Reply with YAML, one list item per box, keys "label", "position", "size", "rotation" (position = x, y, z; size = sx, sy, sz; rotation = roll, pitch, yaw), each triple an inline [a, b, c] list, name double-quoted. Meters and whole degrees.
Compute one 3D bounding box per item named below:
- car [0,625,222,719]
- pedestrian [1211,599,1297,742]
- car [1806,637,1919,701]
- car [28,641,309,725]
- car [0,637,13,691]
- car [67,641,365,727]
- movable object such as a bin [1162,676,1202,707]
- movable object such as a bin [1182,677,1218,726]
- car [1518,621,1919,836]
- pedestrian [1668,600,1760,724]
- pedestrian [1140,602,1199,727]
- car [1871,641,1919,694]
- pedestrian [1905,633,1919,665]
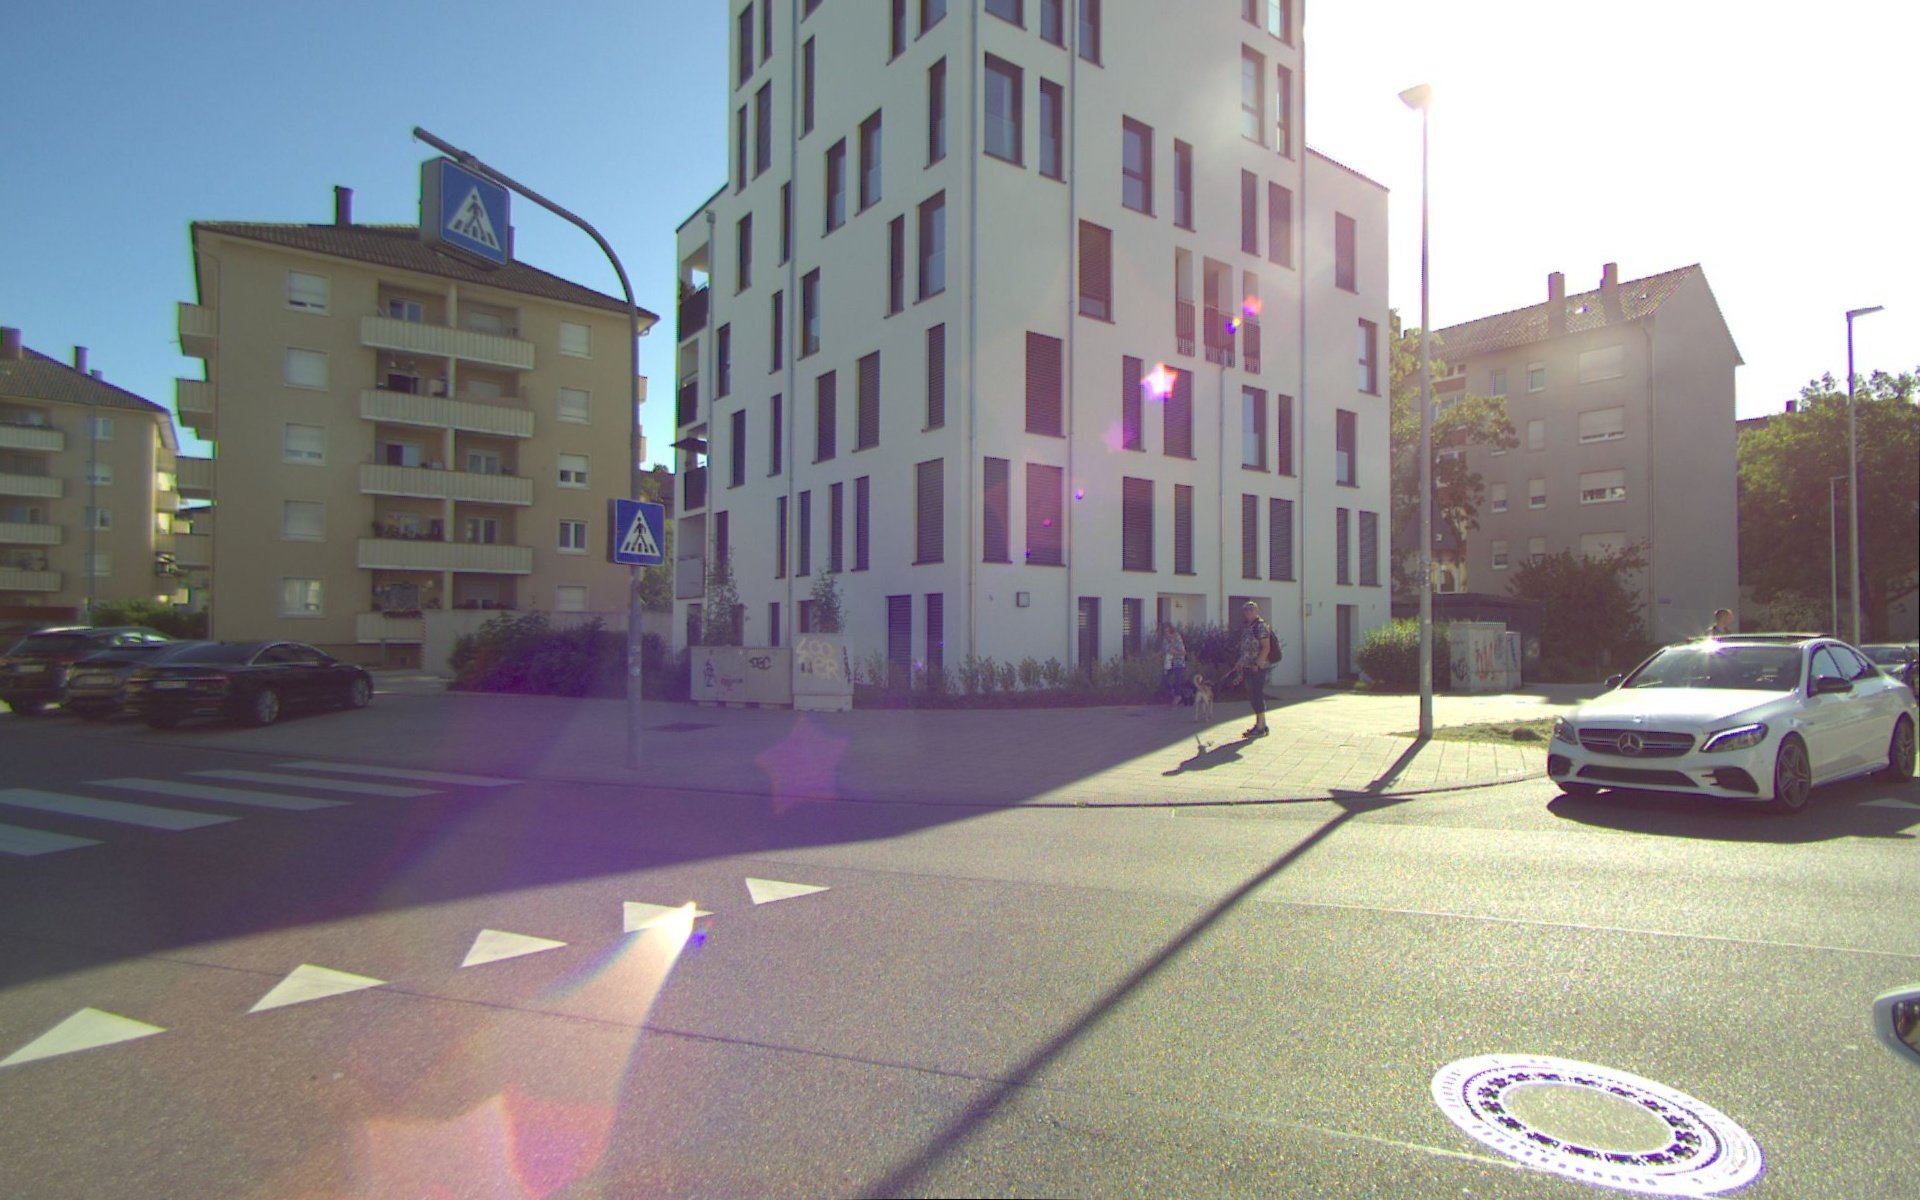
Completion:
- label: "car"
  position: [-17.636, 1.403, 20.758]
  size: [1.962, 1.673, 3.998]
  rotation: [0, 0, -4]
- label: "pedestrian"
  position: [4.101, 0.956, 14.020]
  size: [0.834, 1.910, 0.787]
  rotation: [2, 0, 43]
- label: "car"
  position: [23.049, 1.714, 25.519]
  size: [3.966, 1.439, 1.653]
  rotation: [3, -1, -39]
- label: "car"
  position: [-15.275, 1.536, 19.803]
  size: [1.961, 1.450, 4.565]
  rotation: [0, -2, -1]
- label: "car"
  position: [-26.704, 1.666, 25.186]
  size: [1.960, 1.420, 4.002]
  rotation: [2, -1, 3]
- label: "car"
  position: [-12.853, 1.390, 17.815]
  size: [1.961, 1.182, 4.564]
  rotation: [0, -1, -1]
- label: "movable object such as a bin"
  position: [4.075, 1.672, 18.450]
  size: [0.675, 0.549, 0.271]
  rotation: [1, -1, -17]
- label: "movable object such as a bin"
  position: [3.717, 1.562, 15.540]
  size: [0.268, 0.689, 0.847]
  rotation: [0, -2, 33]
- label: "car"
  position: [7.562, 1.046, 9.751]
  size: [4.590, 1.524, 1.874]
  rotation: [-1, -2, -35]
- label: "pedestrian"
  position: [11.020, 0.885, 14.680]
  size: [0.972, 1.737, 0.863]
  rotation: [2, -2, -40]
- label: "pedestrian"
  position: [3.671, 1.120, 17.674]
  size: [0.939, 2.149, 0.776]
  rotation: [-1, -1, 7]
- label: "car"
  position: [26.944, 1.853, 28.173]
  size: [3.964, 1.394, 1.395]
  rotation: [1, -2, -38]
- label: "pedestrian"
  position: [50.214, 2.565, 52.876]
  size: [0.694, 1.686, 0.628]
  rotation: [2, -2, -42]
